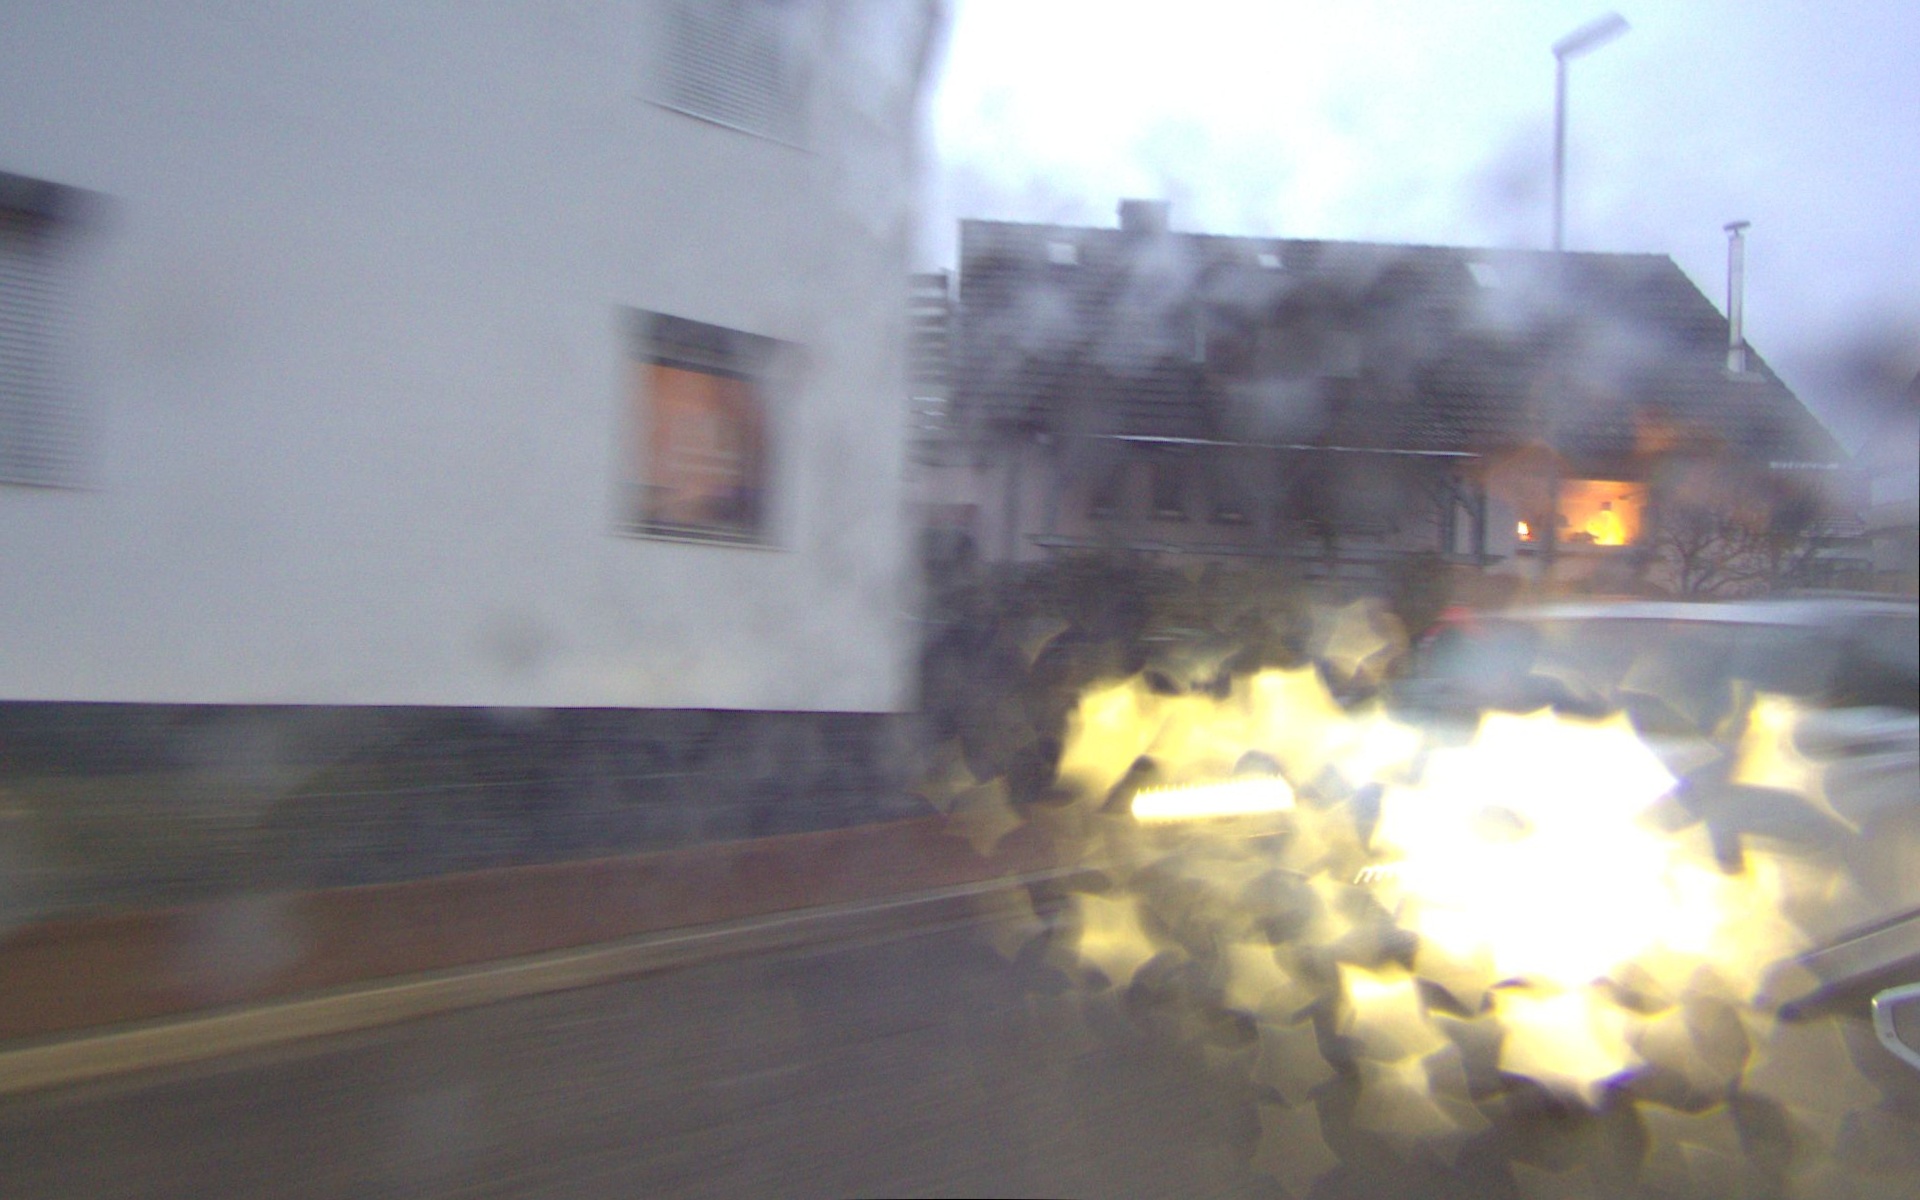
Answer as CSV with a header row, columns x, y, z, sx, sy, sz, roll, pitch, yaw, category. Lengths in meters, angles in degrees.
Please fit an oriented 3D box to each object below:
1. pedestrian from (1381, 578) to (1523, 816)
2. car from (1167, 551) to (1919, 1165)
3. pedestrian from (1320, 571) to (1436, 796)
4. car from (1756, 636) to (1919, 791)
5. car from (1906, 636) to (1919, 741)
x,y,z,sx,sy,sz,roll,pitch,yaw,category
3.971,0.748,8.110,0.803,1.802,0.702,2,-1,-34,pedestrian
3.026,0.740,4.323,3.949,1.601,1.751,2,-1,-28,car
3.730,0.721,8.969,0.804,1.894,0.594,2,-1,-34,pedestrian
10.749,1.159,11.221,4.025,1.460,1.812,1,-1,-34,car
15.026,1.223,14.084,4.104,1.407,1.738,1,-1,-34,car
